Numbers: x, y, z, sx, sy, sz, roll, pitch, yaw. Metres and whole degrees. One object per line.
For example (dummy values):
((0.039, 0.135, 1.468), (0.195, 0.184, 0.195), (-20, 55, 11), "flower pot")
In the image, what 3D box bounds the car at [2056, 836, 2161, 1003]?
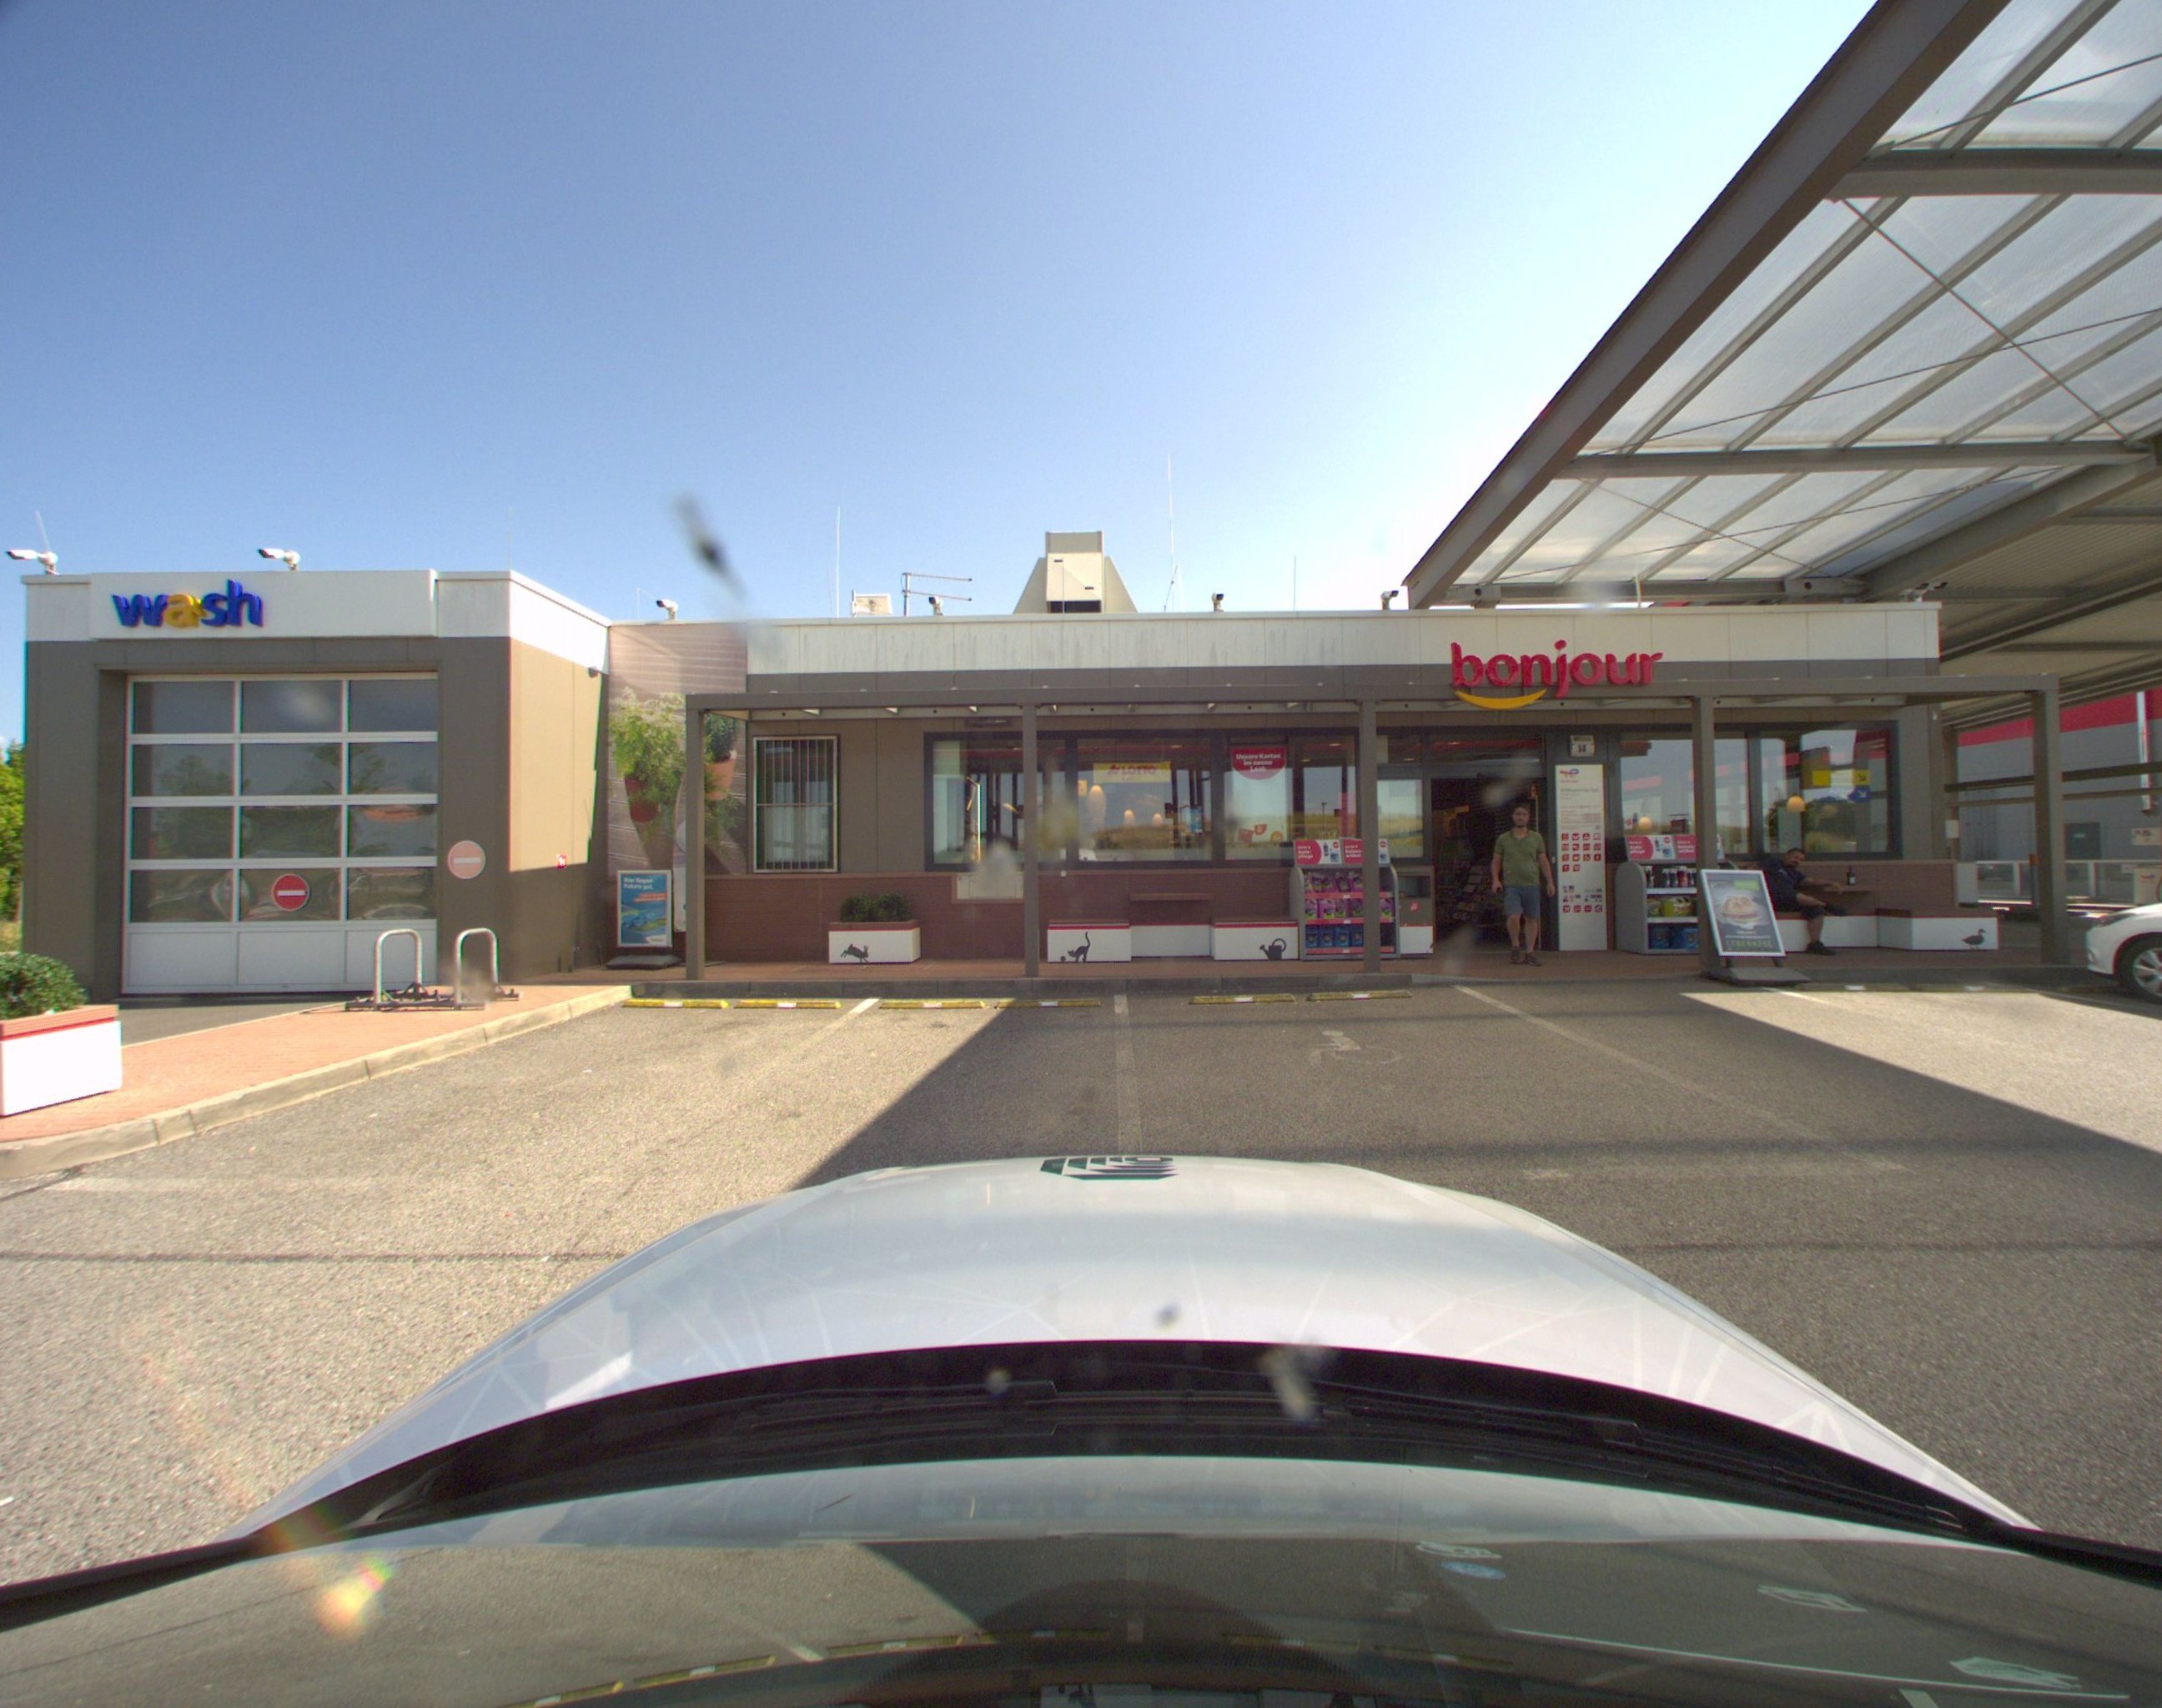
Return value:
((10.411, 0.546, 5.718), (1.827, 1.457, 4.314), (-1, 0, -5), "car")

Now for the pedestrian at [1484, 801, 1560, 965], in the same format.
((5.085, 0.323, 9.446), (0.695, 1.797, 0.867), (-1, 0, 25), "pedestrian")

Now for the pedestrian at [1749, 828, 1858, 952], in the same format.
((8.712, 0.424, 9.844), (0.699, 1.432, 0.672), (-1, 0, 0), "pedestrian")
